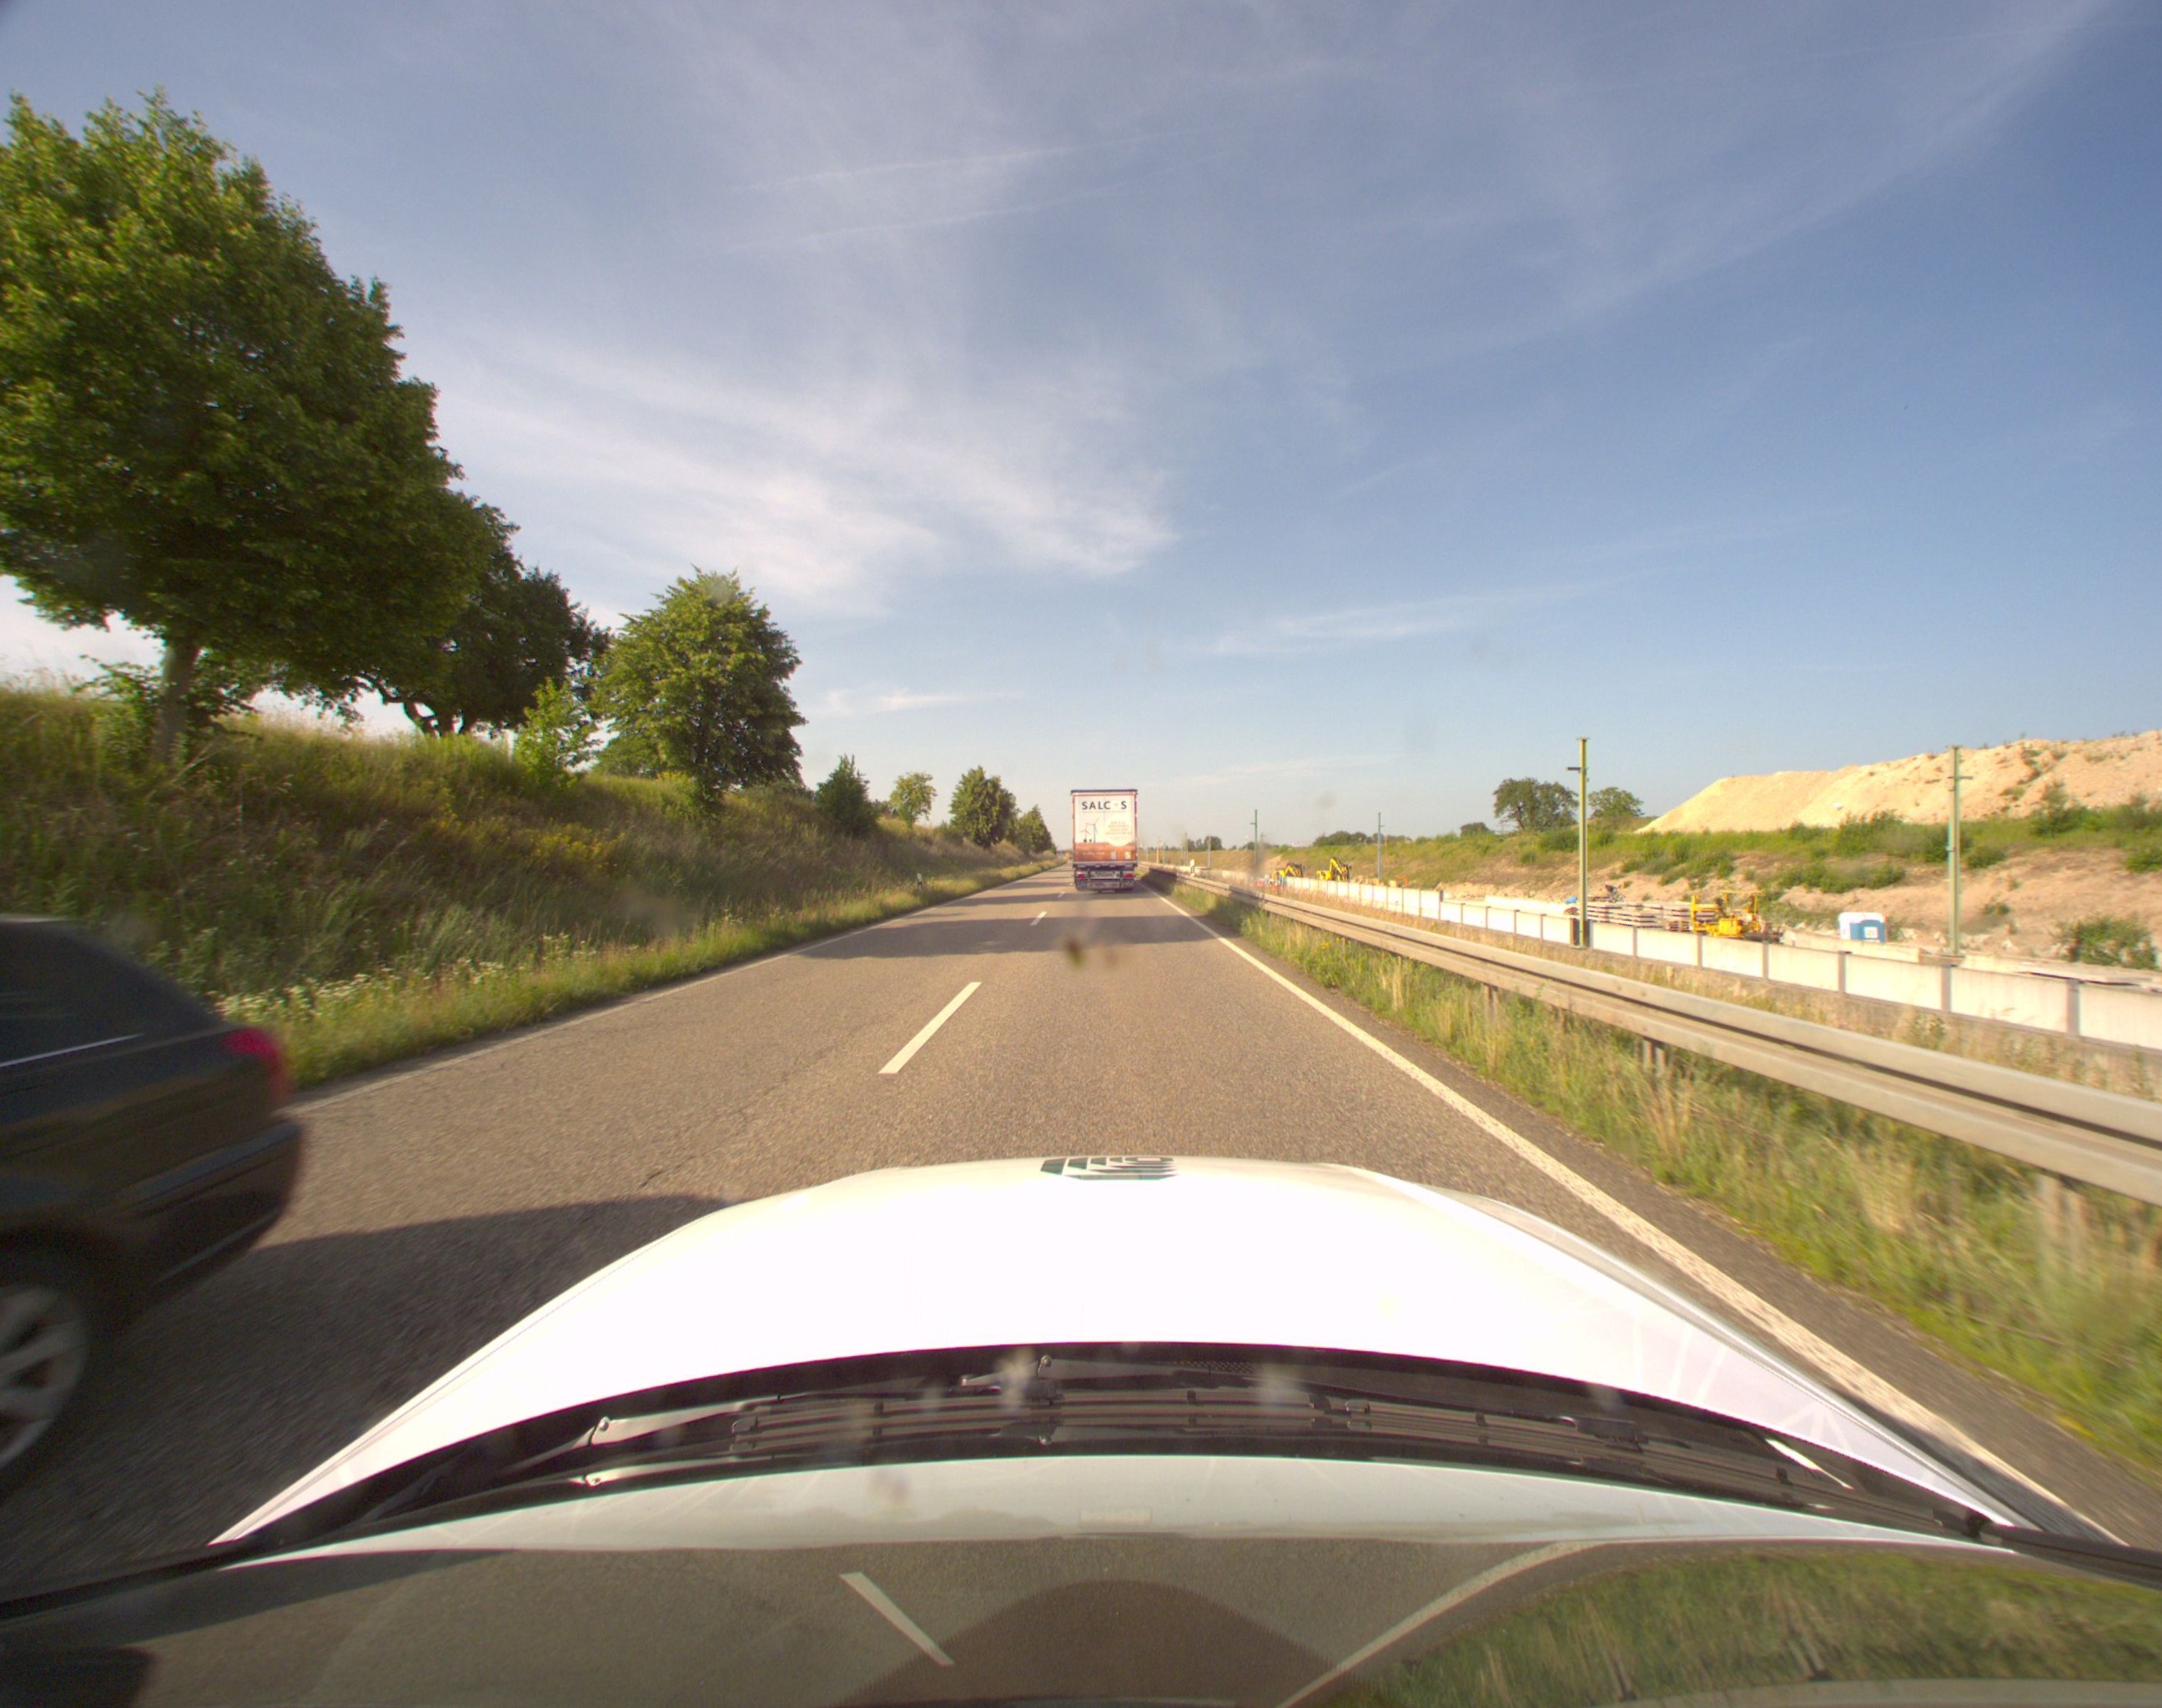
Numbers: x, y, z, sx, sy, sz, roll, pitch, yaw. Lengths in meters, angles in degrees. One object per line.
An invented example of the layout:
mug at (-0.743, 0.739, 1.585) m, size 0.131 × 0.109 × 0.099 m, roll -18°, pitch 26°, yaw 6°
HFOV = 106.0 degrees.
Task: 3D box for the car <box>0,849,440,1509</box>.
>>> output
car at (-3.439, 0.786, 1.036) m, size 1.737 × 1.546 × 4.313 m, roll -2°, pitch 0°, yaw 1°

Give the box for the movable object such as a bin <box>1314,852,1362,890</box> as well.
movable object such as a bin at (27.566, 1.703, 87.583) m, size 2.787 × 3.886 × 7.538 m, roll -1°, pitch 0°, yaw 0°

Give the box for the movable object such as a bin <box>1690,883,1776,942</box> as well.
movable object such as a bin at (31.751, 2.794, 39.737) m, size 2.877 × 2.661 × 2.031 m, roll -1°, pitch 0°, yaw 26°

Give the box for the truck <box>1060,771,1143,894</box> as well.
truck at (0.937, -0.839, 35.898) m, size 3.141 × 4.688 × 8.444 m, roll -1°, pitch 0°, yaw 2°

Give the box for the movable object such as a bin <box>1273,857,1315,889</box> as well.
movable object such as a bin at (23.123, 1.993, 88.819) m, size 2.613 × 3.239 × 8.073 m, roll -1°, pitch 0°, yaw 1°
